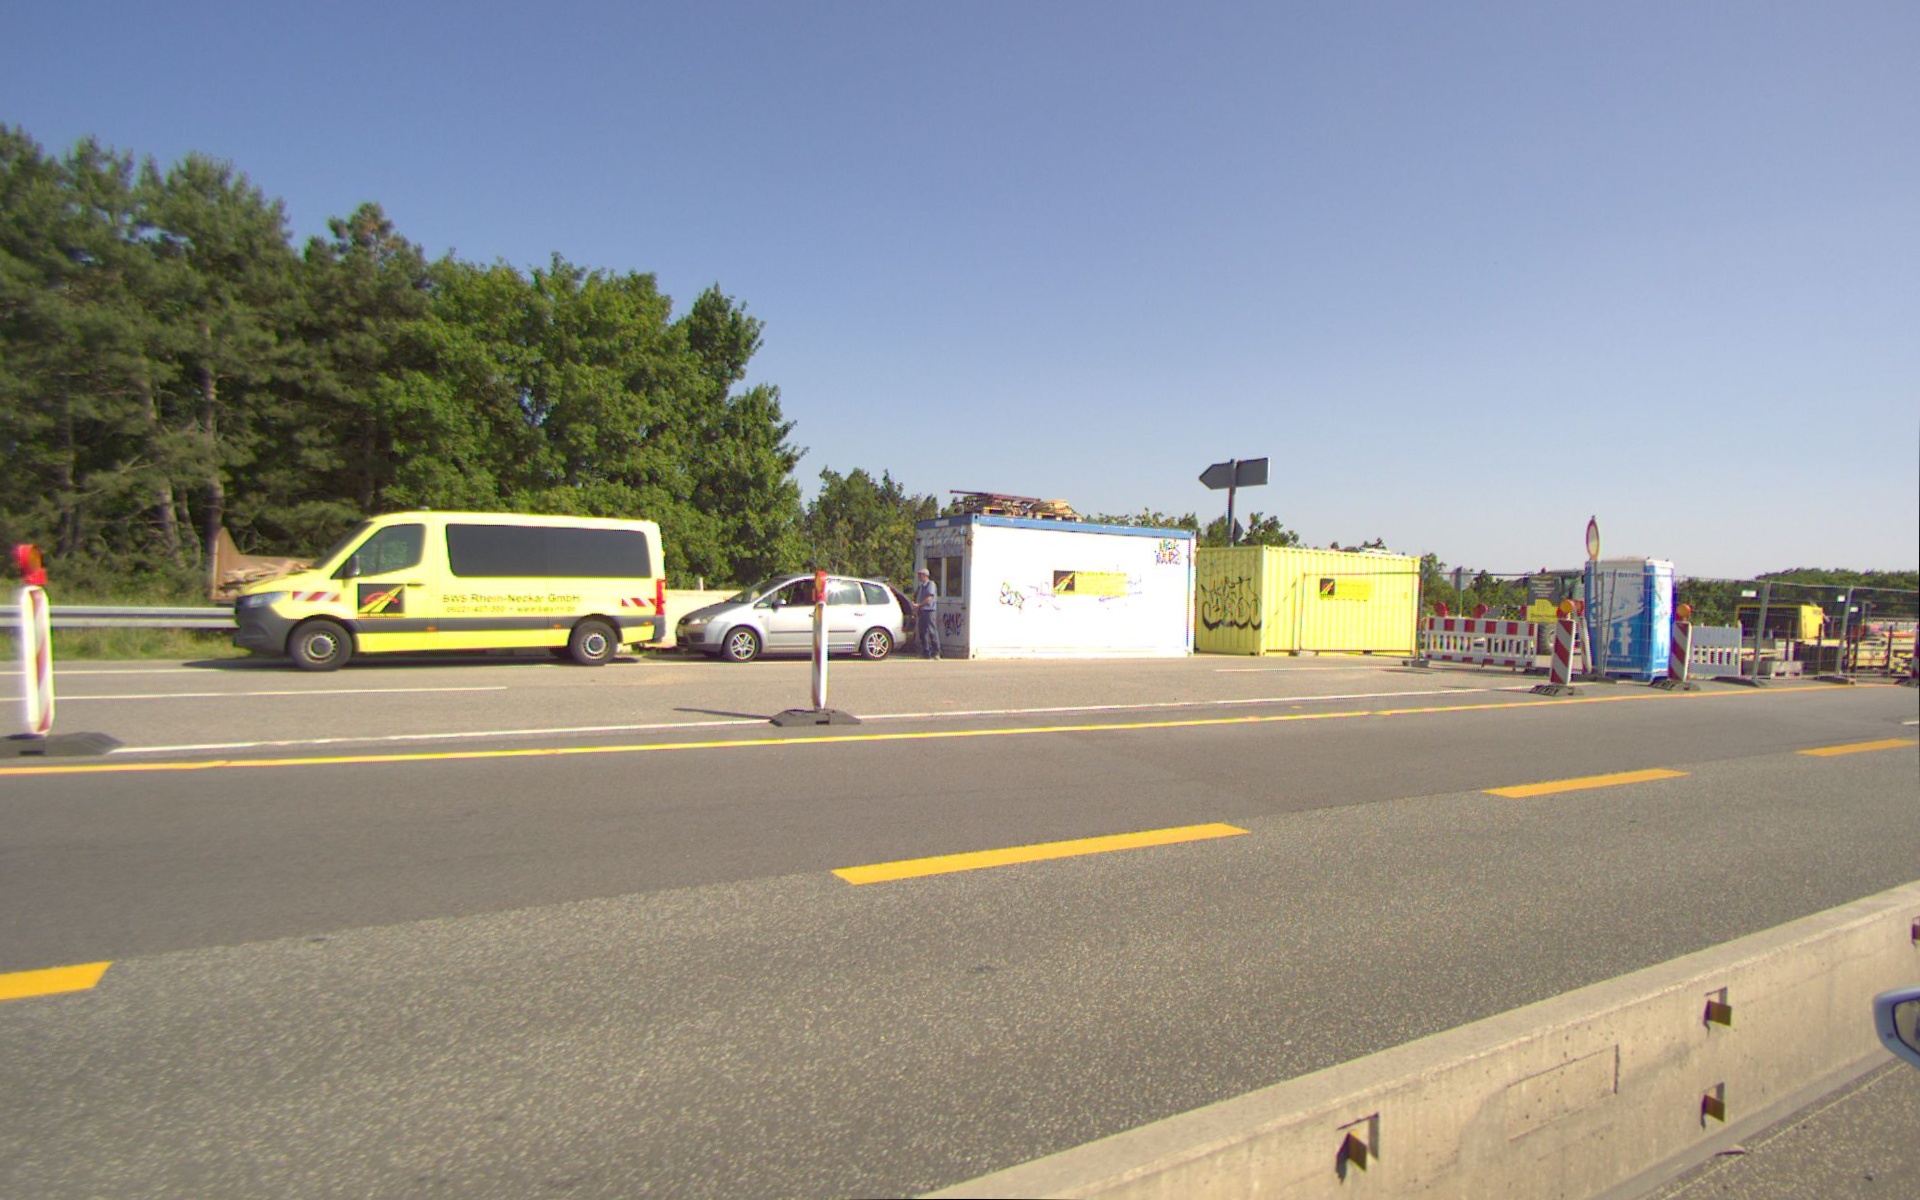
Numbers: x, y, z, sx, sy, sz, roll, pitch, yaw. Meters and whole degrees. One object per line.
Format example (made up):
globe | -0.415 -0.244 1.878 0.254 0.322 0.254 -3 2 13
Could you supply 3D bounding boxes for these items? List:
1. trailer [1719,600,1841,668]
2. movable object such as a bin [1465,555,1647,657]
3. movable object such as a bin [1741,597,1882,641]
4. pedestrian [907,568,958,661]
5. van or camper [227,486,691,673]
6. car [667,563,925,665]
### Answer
trailer | 22.353 0.897 27.360 3.500 1.671 1.707 1 2 -37
movable object such as a bin | 18.130 0.197 30.543 5.038 2.752 2.025 2 7 -25
movable object such as a bin | 44.120 0.935 52.222 2.198 2.145 5.399 1 0 -11
pedestrian | -0.542 0.276 19.646 0.712 1.785 0.718 1 0 -31
van or camper | -7.514 -0.220 15.582 6.140 2.409 1.980 1 0 -36
car | -2.983 0.253 18.641 4.411 1.708 1.677 1 1 -33
